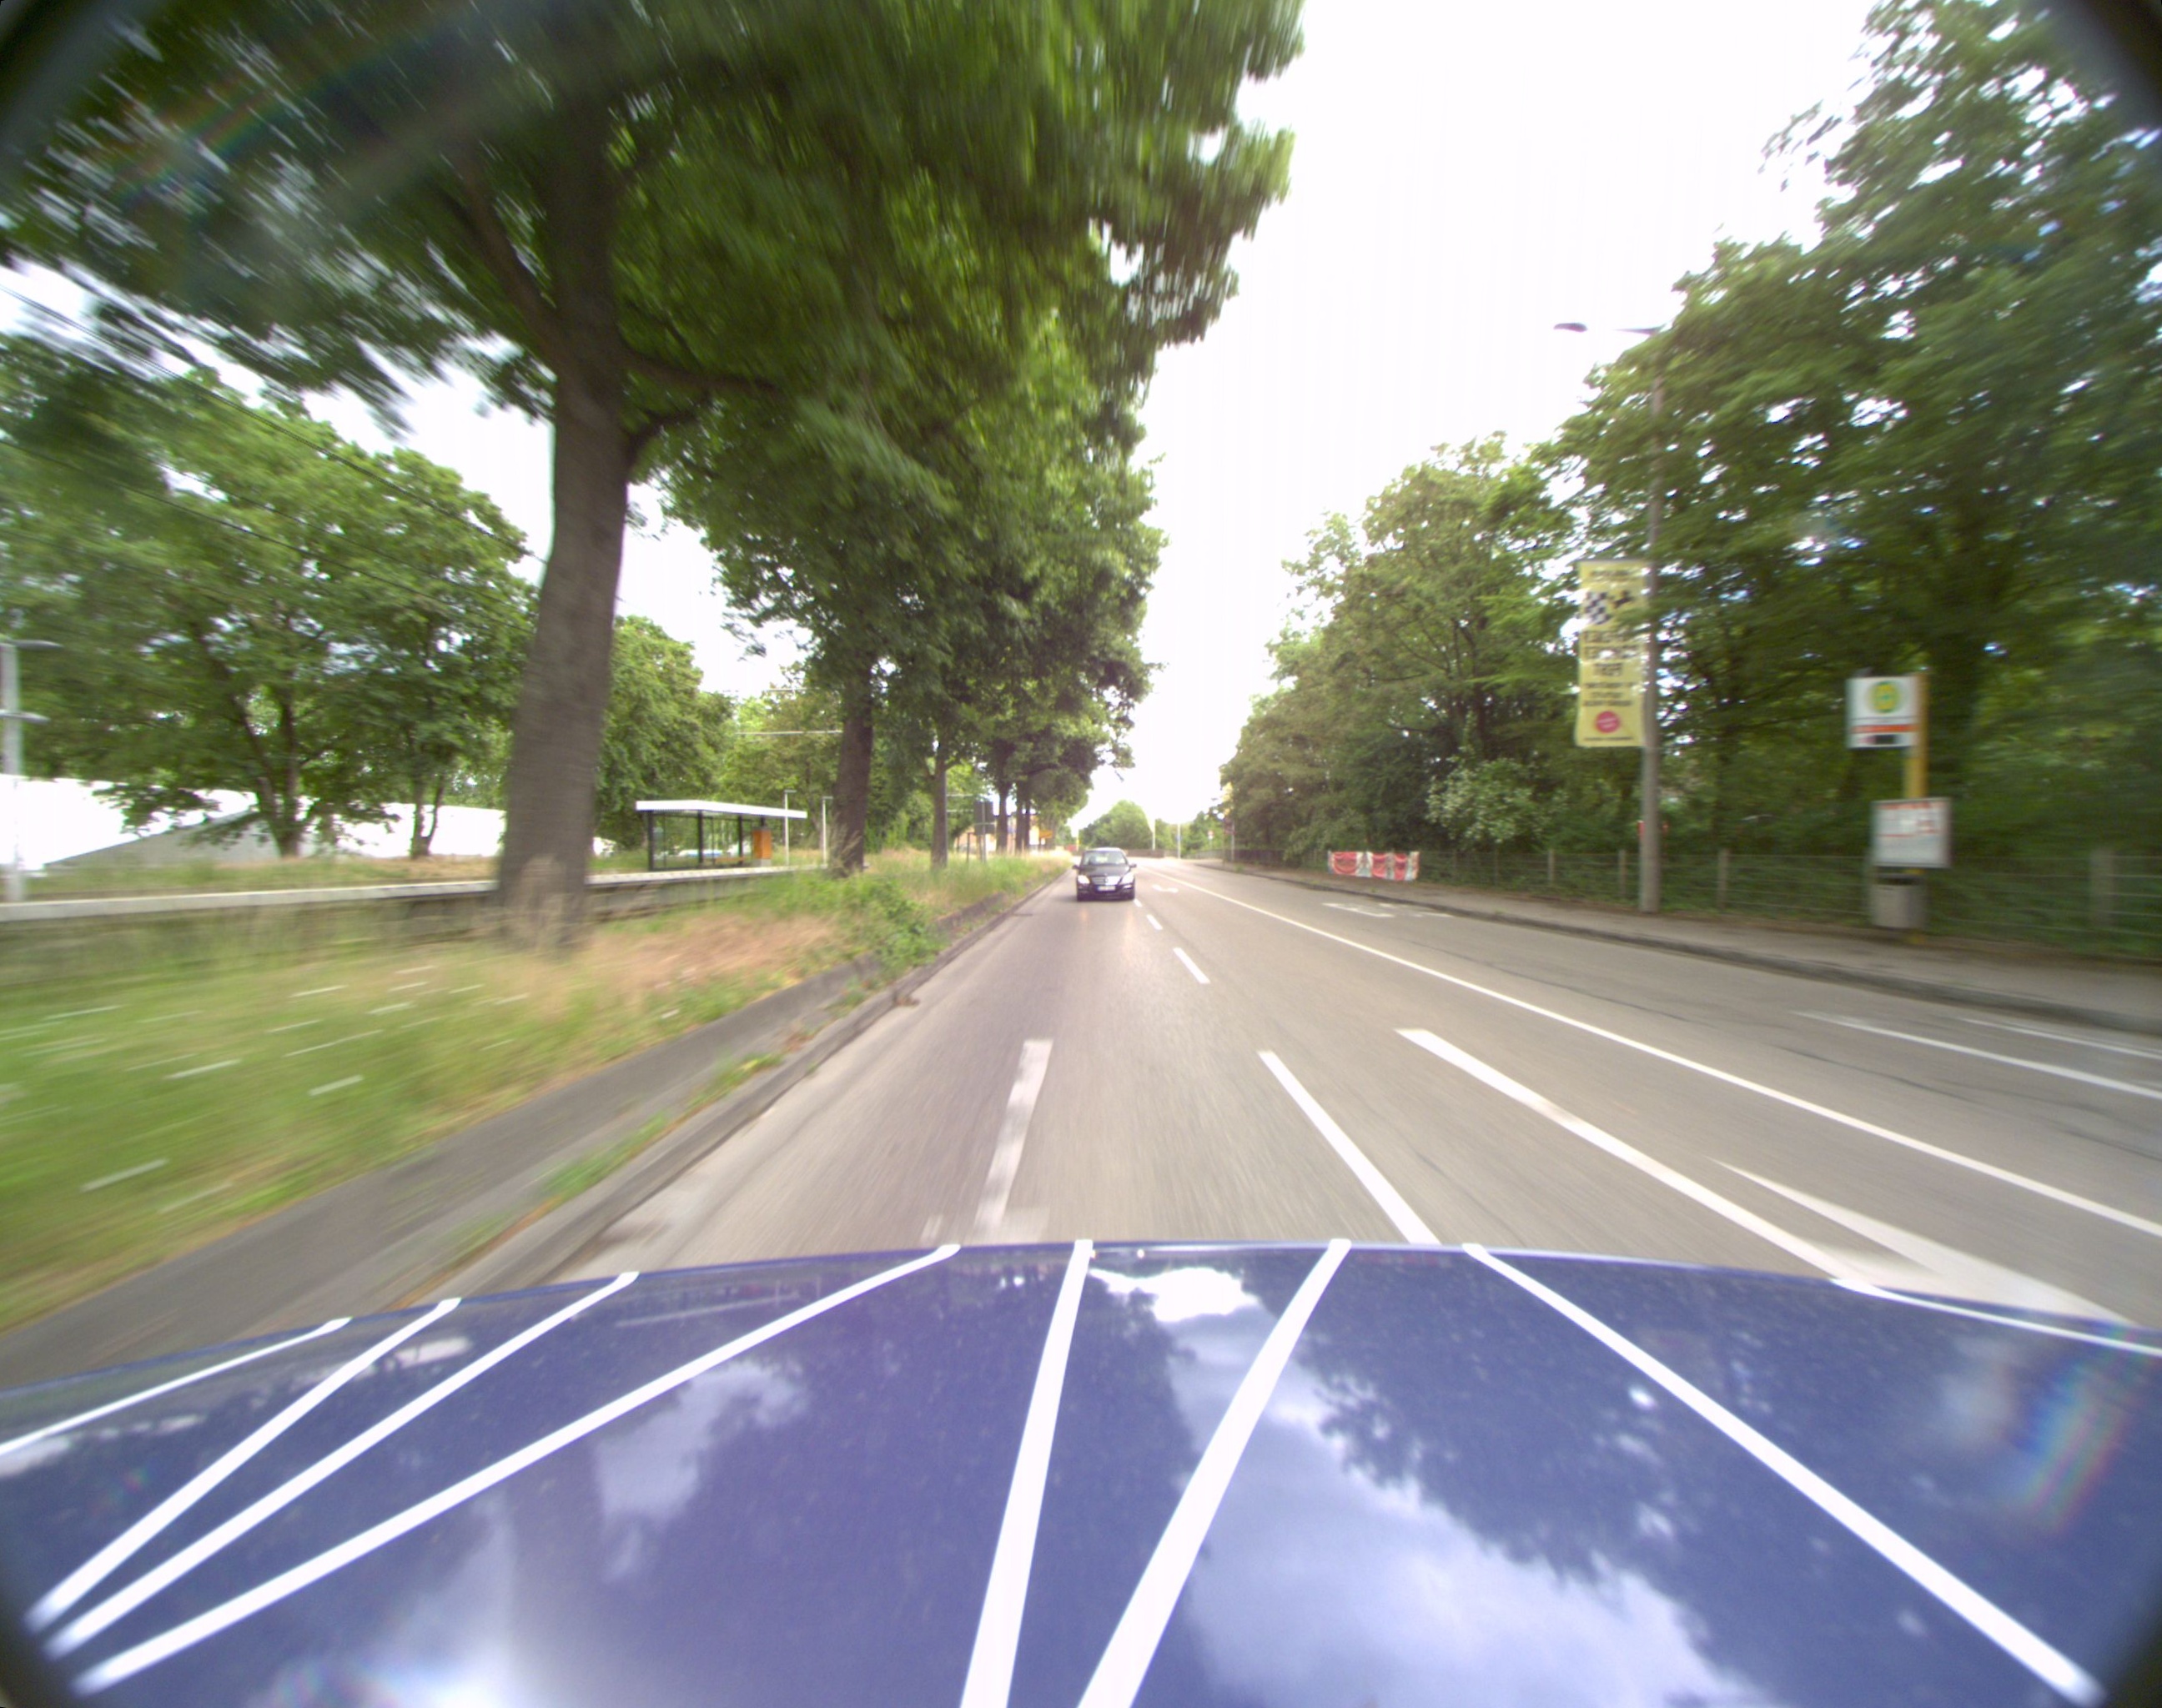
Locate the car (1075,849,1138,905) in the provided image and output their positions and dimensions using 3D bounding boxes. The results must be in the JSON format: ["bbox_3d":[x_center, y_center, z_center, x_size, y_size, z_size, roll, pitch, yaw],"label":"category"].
[{"bbox_3d":[0.718,0.634,23.394,1.751,1.556,4.074,0,1,0],"label":"car"}]
